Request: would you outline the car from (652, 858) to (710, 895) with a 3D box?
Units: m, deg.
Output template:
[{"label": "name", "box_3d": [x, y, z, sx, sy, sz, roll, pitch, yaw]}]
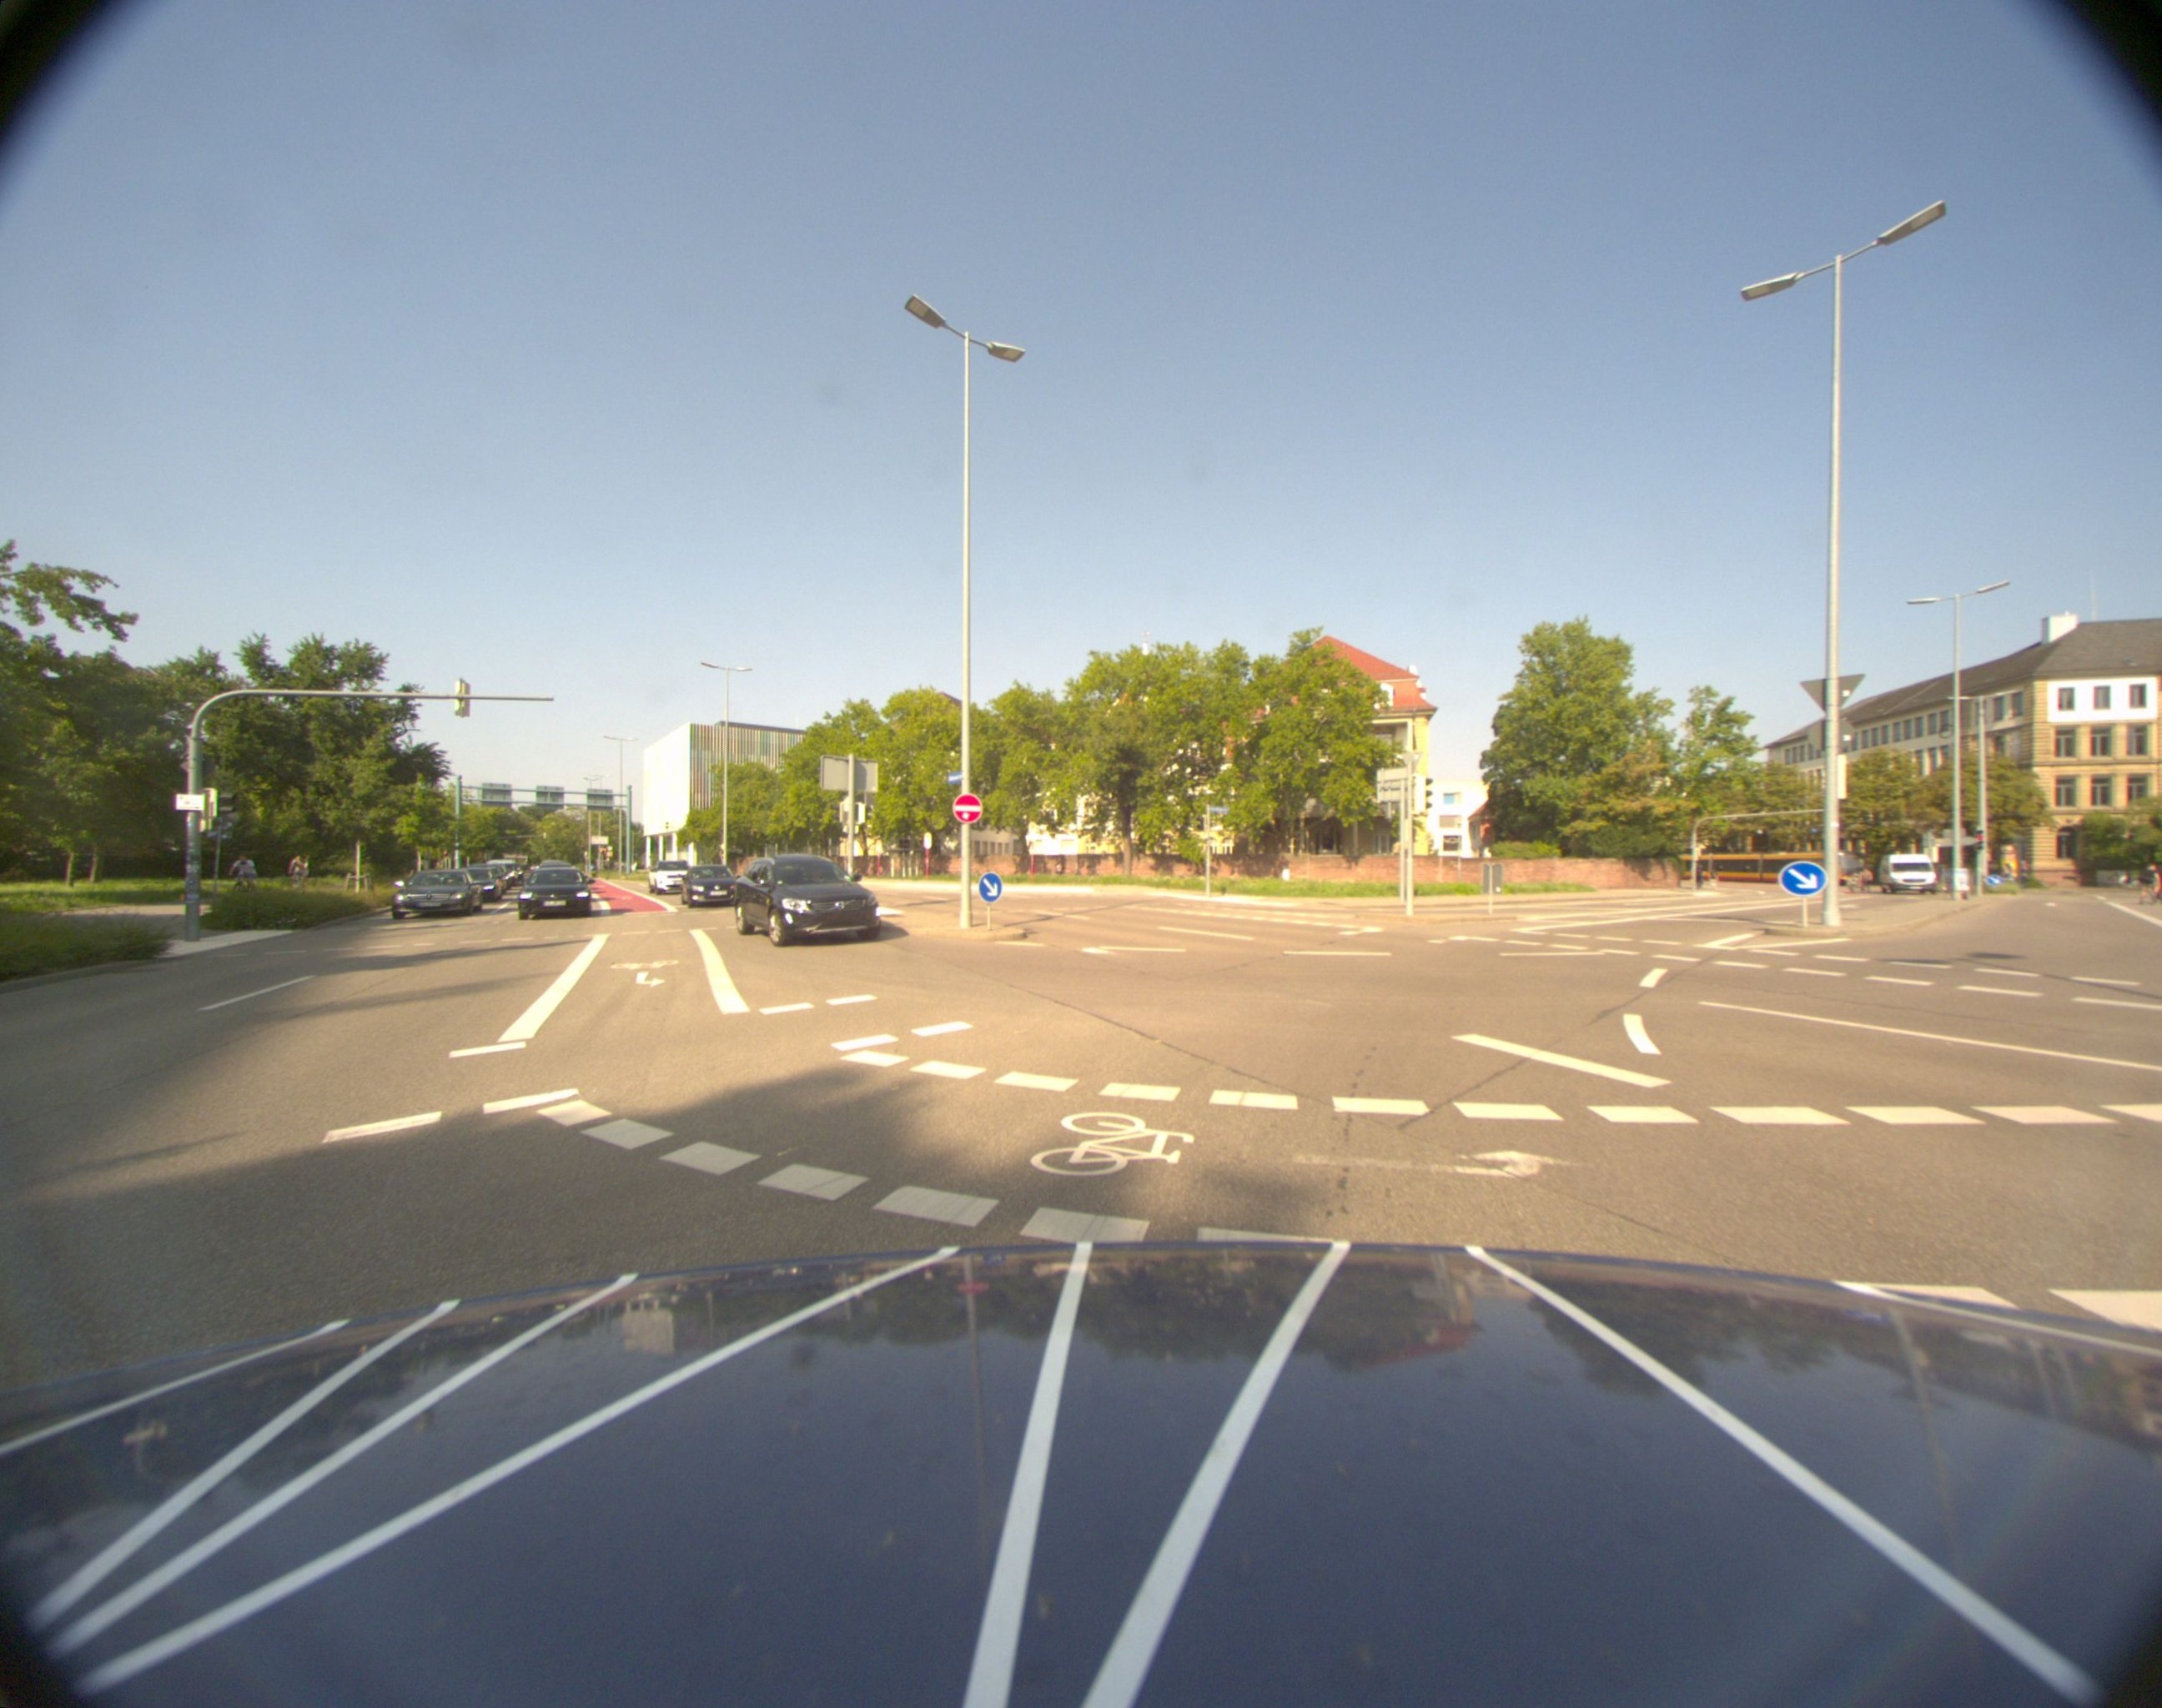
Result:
[{"label": "car", "box_3d": [-19.584, 1.072, 37.120, 2.003, 1.624, 4.361, -3, 1, -34]}]

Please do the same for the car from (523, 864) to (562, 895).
[{"label": "car", "box_3d": [-31.543, 1.470, 44.502, 1.787, 1.596, 4.409, 1, 1, -35]}]

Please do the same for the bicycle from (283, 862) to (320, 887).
[{"label": "bicycle", "box_3d": [-35.713, 0.921, 34.849, 0.775, 1.111, 2.297, -1, 0, -36]}]

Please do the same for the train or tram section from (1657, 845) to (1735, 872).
[{"label": "train or tram section", "box_3d": [82.304, 0.482, 102.141, 2.631, 3.198, 13.904, -2, 1, 15]}]

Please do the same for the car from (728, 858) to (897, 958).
[{"label": "car", "box_3d": [-5.535, 0.933, 15.306, 2.003, 1.624, 4.360, -3, 1, -36]}]

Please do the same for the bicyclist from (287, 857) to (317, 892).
[{"label": "bicyclist", "box_3d": [-35.706, 0.912, 34.839, 0.775, 1.583, 0.921, -1, 1, -36]}]

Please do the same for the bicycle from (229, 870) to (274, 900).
[{"label": "bicycle", "box_3d": [-32.447, 1.185, 29.746, 0.775, 1.111, 2.297, 0, 0, -36]}]

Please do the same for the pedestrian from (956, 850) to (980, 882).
[{"label": "pedestrian", "box_3d": [-7.213, 0.775, 48.488, 1.081, 2.002, 1.315, -1, 1, -31]}]

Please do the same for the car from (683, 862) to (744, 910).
[{"label": "car", "box_3d": [-12.903, 1.049, 26.591, 1.628, 1.489, 3.841, -2, 1, -30]}]

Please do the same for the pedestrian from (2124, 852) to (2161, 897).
[{"label": "pedestrian", "box_3d": [48.412, 0.932, 34.487, 1.346, 2.002, 1.209, 0, 0, -34]}]

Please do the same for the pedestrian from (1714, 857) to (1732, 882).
[{"label": "pedestrian", "box_3d": [53.682, 1.289, 63.538, 0.816, 2.002, 0.822, -2, 1, 13]}]

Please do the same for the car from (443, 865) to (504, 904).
[{"label": "car", "box_3d": [-25.682, 1.228, 32.219, 1.691, 1.483, 4.661, 0, 0, -35]}]

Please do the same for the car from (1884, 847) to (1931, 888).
[{"label": "car", "box_3d": [54.310, 0.851, 49.956, 5.562, 2.437, 1.994, -3, 1, -43]}]

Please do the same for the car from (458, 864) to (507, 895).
[{"label": "car", "box_3d": [-30.735, 1.286, 39.118, 1.691, 1.483, 4.361, 0, 0, -35]}]

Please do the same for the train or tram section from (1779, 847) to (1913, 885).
[{"label": "train or tram section", "box_3d": [75.178, 1.016, 75.270, 2.631, 3.198, 13.904, -2, 1, 15]}]

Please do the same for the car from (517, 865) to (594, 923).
[{"label": "car", "box_3d": [-15.681, 1.119, 22.718, 1.691, 1.483, 4.361, -3, 1, -35]}]

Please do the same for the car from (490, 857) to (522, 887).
[{"label": "car", "box_3d": [-39.575, 1.196, 52.306, 1.691, 1.930, 4.360, 0, 0, -37]}]

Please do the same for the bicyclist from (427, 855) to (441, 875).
[{"label": "bicyclist", "box_3d": [-54.897, 0.960, 64.458, 0.775, 1.666, 0.921, -1, 1, -36]}]

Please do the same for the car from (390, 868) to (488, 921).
[{"label": "car", "box_3d": [-19.918, 1.191, 23.734, 1.691, 1.434, 4.361, 0, 0, -32]}]

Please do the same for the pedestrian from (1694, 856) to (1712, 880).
[{"label": "pedestrian", "box_3d": [52.740, 1.149, 64.387, 0.821, 2.002, 0.817, -2, 1, 4]}]

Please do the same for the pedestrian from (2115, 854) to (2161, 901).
[{"label": "pedestrian", "box_3d": [46.605, 1.008, 33.447, 1.346, 2.002, 1.209, 0, 0, -34]}]

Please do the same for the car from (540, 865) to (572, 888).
[{"label": "car", "box_3d": [-35.190, 1.481, 51.035, 1.691, 1.483, 4.361, 0, 0, -34]}]

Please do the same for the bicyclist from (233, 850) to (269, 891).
[{"label": "bicyclist", "box_3d": [-32.383, 0.637, 29.660, 0.775, 1.583, 0.921, 0, 0, -36]}]

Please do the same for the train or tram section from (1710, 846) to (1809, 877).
[{"label": "train or tram section", "box_3d": [78.759, 0.748, 88.714, 2.631, 3.198, 13.904, -2, 1, 15]}]
